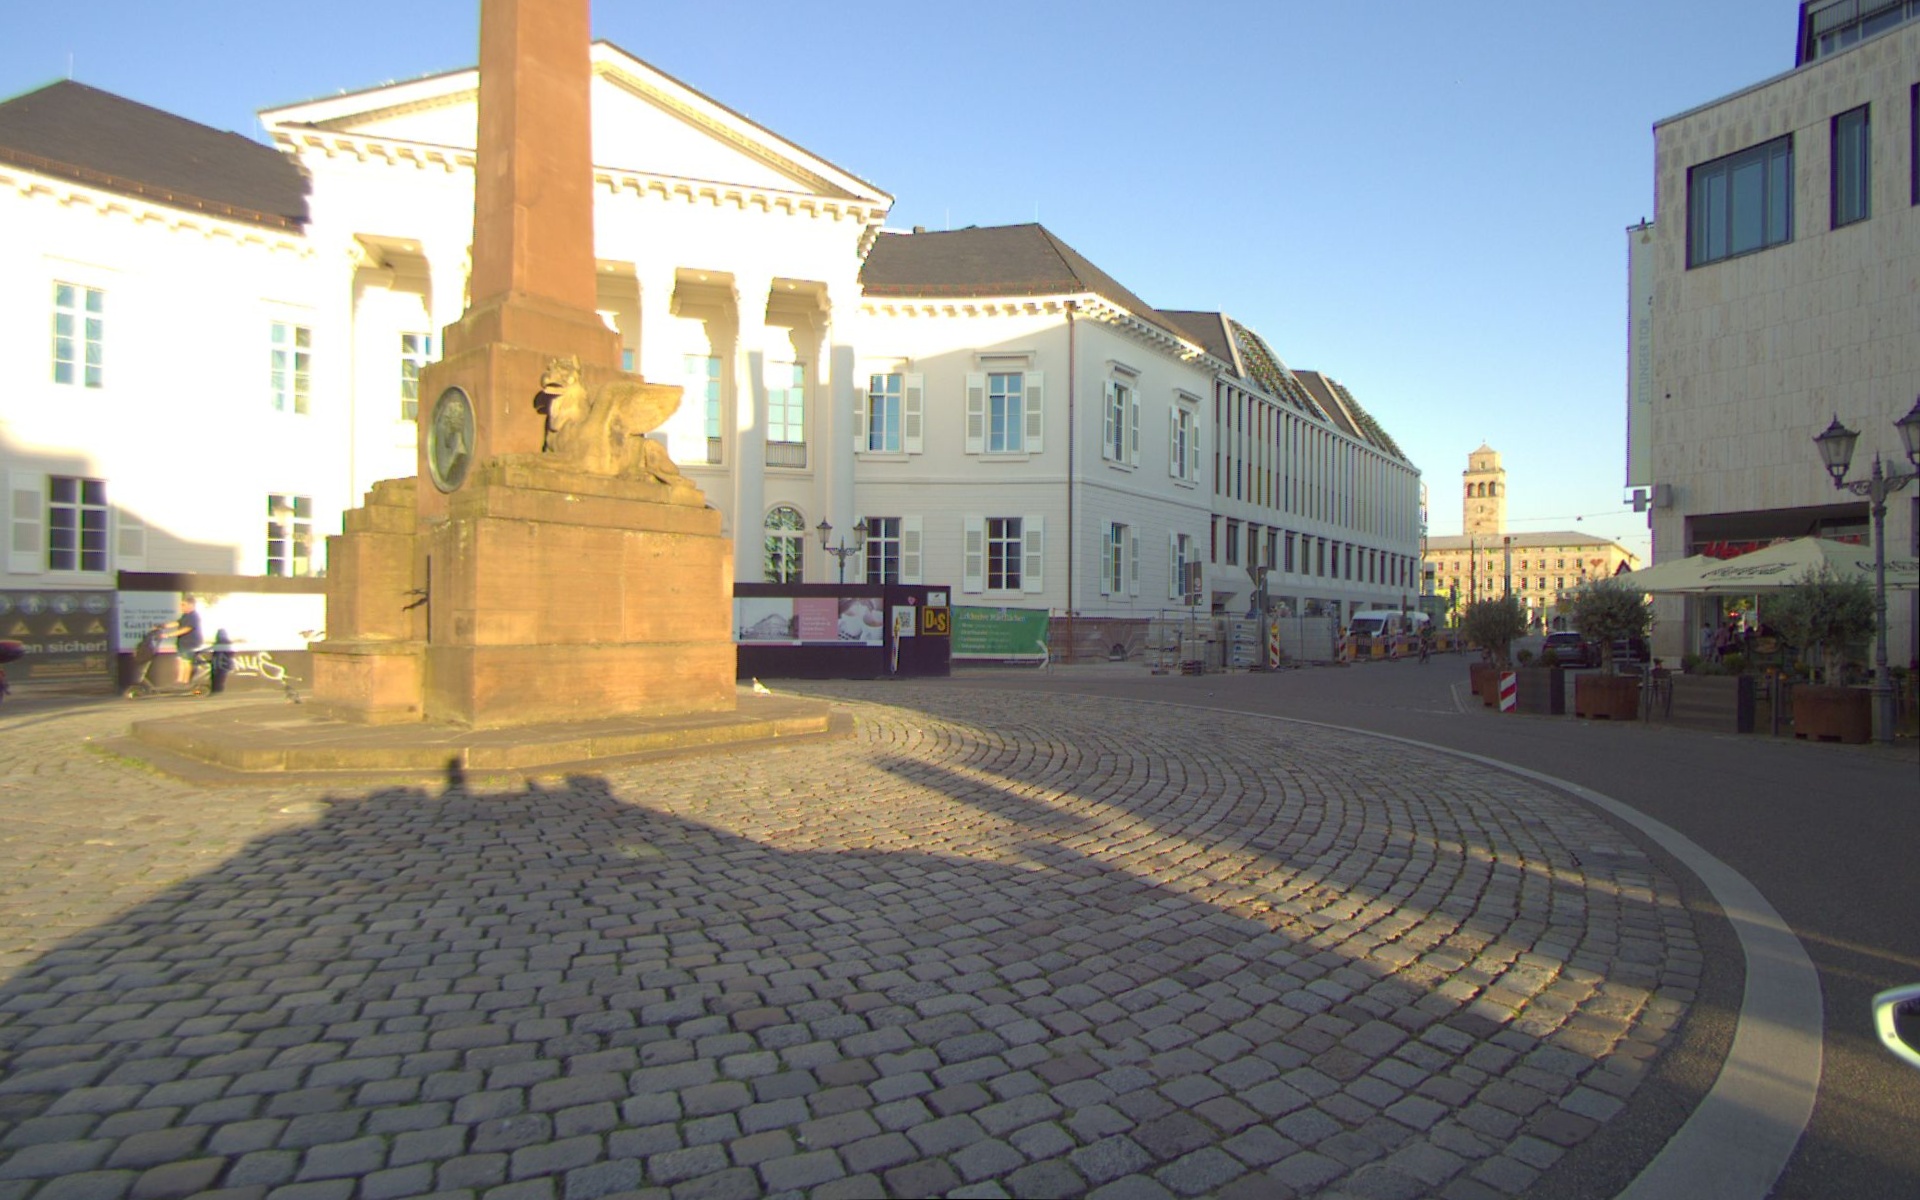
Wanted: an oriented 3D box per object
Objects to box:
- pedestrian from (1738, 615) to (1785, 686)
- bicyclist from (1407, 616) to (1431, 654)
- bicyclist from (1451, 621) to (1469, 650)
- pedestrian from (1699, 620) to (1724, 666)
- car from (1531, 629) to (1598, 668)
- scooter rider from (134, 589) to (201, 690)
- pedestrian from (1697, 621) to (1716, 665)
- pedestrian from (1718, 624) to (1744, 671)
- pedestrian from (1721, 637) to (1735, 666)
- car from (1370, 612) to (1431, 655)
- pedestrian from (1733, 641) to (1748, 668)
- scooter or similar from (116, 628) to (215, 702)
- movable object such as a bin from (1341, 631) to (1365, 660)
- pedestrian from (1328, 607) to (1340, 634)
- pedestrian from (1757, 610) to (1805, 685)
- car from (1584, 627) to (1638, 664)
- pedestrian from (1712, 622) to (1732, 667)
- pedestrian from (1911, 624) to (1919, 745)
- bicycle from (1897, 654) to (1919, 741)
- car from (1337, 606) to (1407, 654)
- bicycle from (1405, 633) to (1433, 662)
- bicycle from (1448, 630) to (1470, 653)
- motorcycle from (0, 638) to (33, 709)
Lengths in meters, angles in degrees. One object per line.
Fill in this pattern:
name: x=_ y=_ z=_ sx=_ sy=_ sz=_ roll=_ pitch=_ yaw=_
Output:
pedestrian: x=20.116 y=1.253 z=25.219 sx=0.660 sy=1.768 sz=0.714 roll=1 pitch=-1 yaw=-22
bicyclist: x=20.282 y=1.532 z=44.365 sx=0.785 sy=1.624 sz=1.227 roll=0 pitch=-1 yaw=33
bicyclist: x=27.378 y=1.916 z=55.004 sx=0.785 sy=1.552 sz=0.971 roll=0 pitch=-1 yaw=35
pedestrian: x=29.098 y=1.656 z=38.893 sx=0.755 sy=1.704 sz=0.873 roll=0 pitch=0 yaw=37
car: x=24.892 y=1.977 z=41.274 sx=1.774 sy=1.509 sz=4.175 roll=-4 pitch=-4 yaw=38
scooter rider: x=-14.476 y=0.716 z=18.351 sx=0.902 sy=1.786 sz=0.677 roll=1 pitch=-1 yaw=-43
pedestrian: x=29.674 y=1.705 z=39.930 sx=0.583 sy=1.721 sz=0.694 roll=0 pitch=-1 yaw=35
pedestrian: x=28.798 y=1.750 z=37.538 sx=0.755 sy=1.704 sz=0.873 roll=0 pitch=0 yaw=37
pedestrian: x=29.931 y=1.997 z=39.158 sx=0.414 sy=1.112 sz=0.524 roll=0 pitch=0 yaw=37
car: x=27.310 y=2.042 z=62.157 sx=2.146 sy=2.503 sz=5.976 roll=0 pitch=-1 yaw=37
pedestrian: x=29.560 y=2.065 z=38.044 sx=0.414 sy=0.999 sz=0.524 roll=0 pitch=0 yaw=37
scooter or similar: x=-14.491 y=1.157 z=18.335 sx=1.350 sy=1.288 sz=0.679 roll=1 pitch=-1 yaw=-43
movable object such as a bin: x=20.639 y=2.371 z=52.735 sx=1.027 sy=1.485 sz=1.392 roll=1 pitch=-1 yaw=26
pedestrian: x=22.064 y=1.218 z=59.249 sx=0.535 sy=1.598 sz=0.577 roll=0 pitch=-1 yaw=36
pedestrian: x=20.846 y=1.193 z=25.499 sx=0.659 sy=1.887 sz=0.715 roll=1 pitch=-1 yaw=-20
car: x=30.842 y=2.142 z=47.532 sx=1.747 sy=1.659 sz=4.041 roll=-4 pitch=-4 yaw=37
pedestrian: x=30.621 y=1.774 z=40.382 sx=0.625 sy=1.798 sz=0.772 roll=0 pitch=0 yaw=37
pedestrian: x=13.272 y=1.129 z=13.387 sx=0.707 sy=1.610 sz=0.742 roll=1 pitch=-1 yaw=-34
bicycle: x=14.007 y=1.340 z=14.145 sx=1.882 sy=1.143 sz=0.603 roll=-1 pitch=0 yaw=-28
car: x=23.066 y=1.649 z=56.057 sx=2.146 sy=2.503 sz=5.975 roll=0 pitch=-1 yaw=37
bicycle: x=20.272 y=2.067 z=44.352 sx=0.785 sy=1.233 sz=2.227 roll=0 pitch=-1 yaw=33
bicycle: x=27.343 y=2.262 z=54.986 sx=0.785 sy=1.233 sz=2.226 roll=0 pitch=-1 yaw=34
motorcycle: x=-15.251 y=1.110 z=14.936 sx=0.791 sy=1.059 sz=2.027 roll=0 pitch=-1 yaw=34
